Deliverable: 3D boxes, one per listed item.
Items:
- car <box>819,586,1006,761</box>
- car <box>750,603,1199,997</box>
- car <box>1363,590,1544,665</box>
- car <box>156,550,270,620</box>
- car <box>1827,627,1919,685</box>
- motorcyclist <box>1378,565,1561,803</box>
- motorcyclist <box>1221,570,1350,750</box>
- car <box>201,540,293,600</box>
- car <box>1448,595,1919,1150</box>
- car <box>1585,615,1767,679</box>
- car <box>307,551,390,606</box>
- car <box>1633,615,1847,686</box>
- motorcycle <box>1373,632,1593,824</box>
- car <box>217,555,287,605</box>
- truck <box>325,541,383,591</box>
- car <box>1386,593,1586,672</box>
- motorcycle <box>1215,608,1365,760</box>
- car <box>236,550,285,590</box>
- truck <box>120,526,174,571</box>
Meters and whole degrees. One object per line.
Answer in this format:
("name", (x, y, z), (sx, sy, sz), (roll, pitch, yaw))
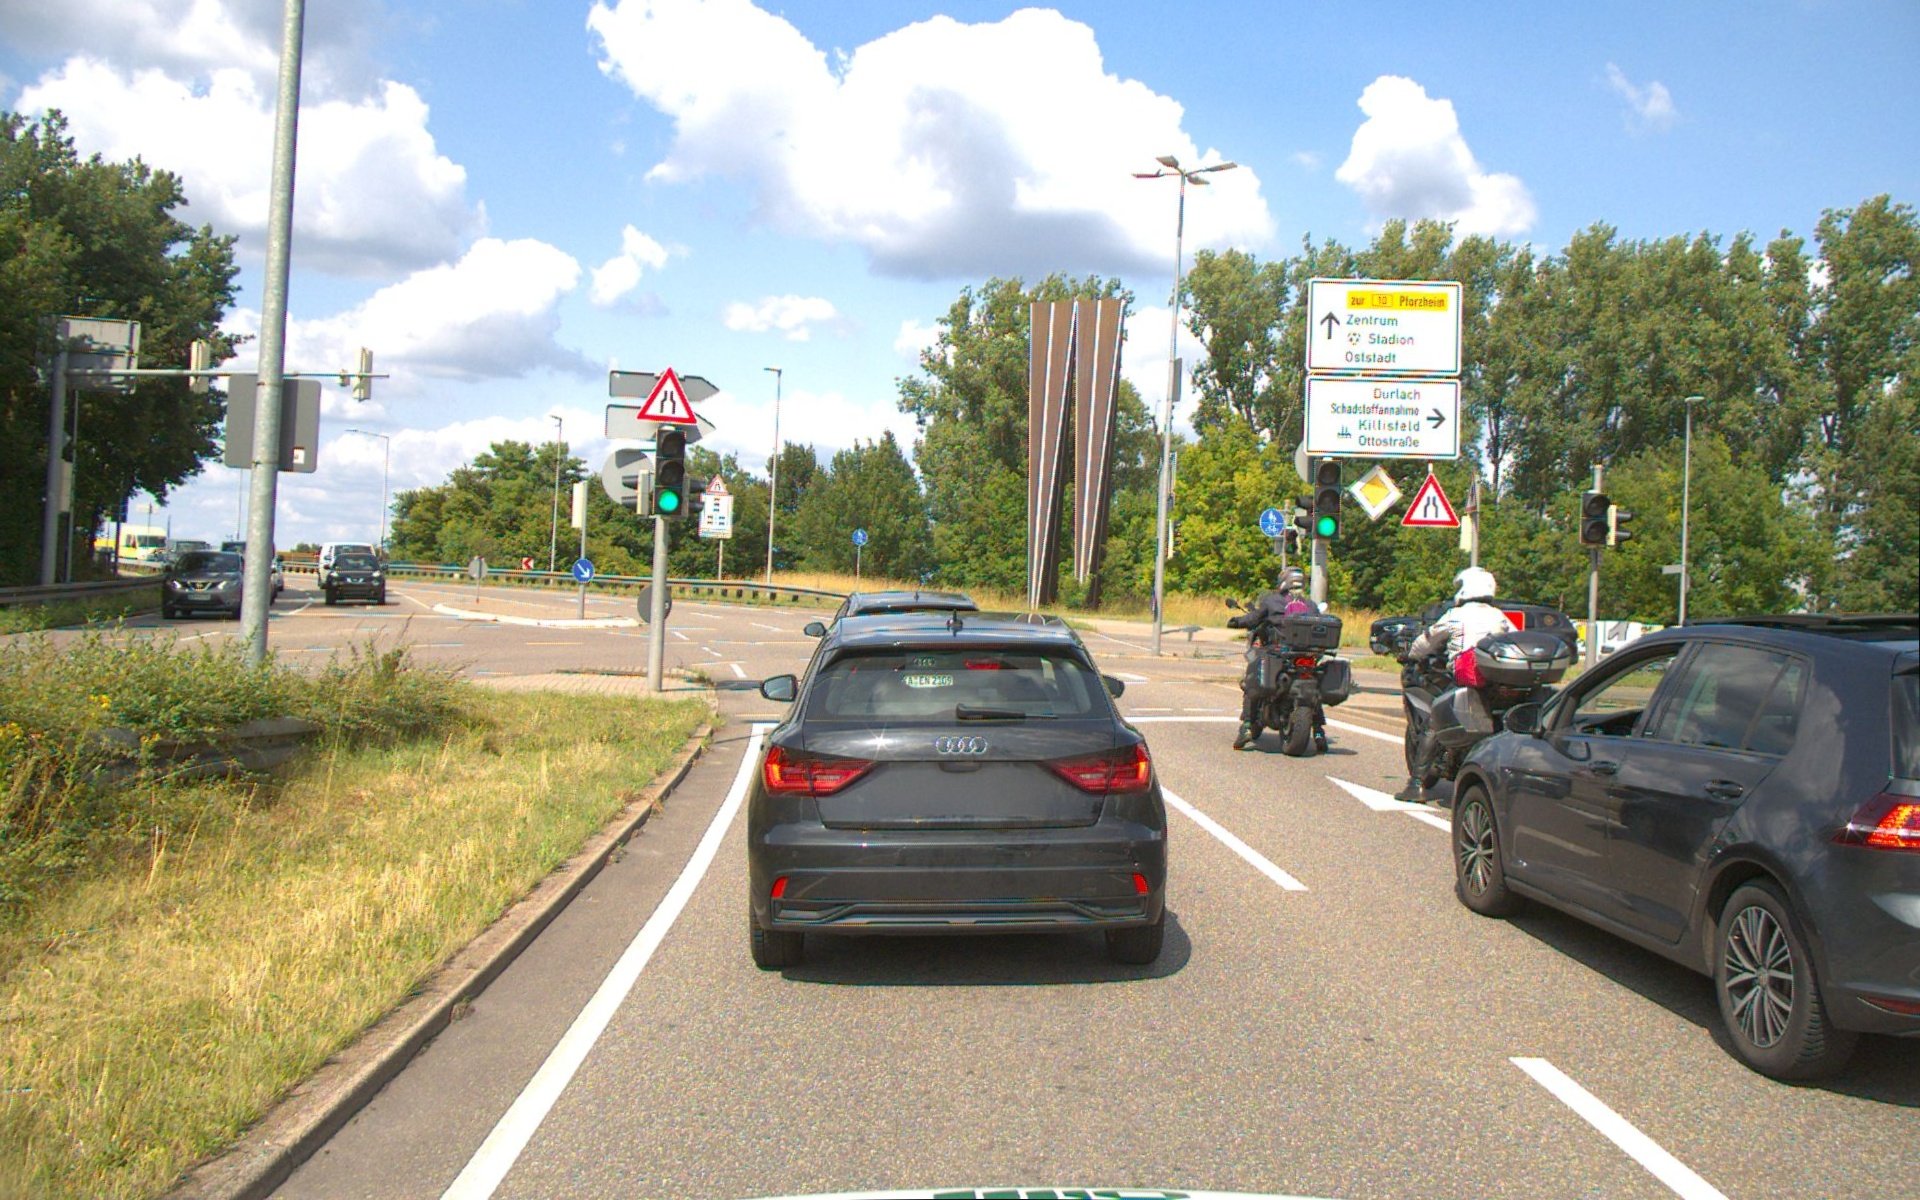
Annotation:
("car", (-0.493, 0.630, 16.413), (1.609, 1.504, 3.870), (1, 0, -2))
("car", (0.028, 0.744, 7.962), (1.647, 1.412, 3.738), (0, 0, -1))
("car", (12.894, 0.699, 43.356), (4.119, 1.674, 1.837), (3, 1, -3))
("car", (-18.248, -0.379, 40.570), (1.680, 1.613, 4.269), (0, 1, -12))
("car", (25.998, 1.564, 44.792), (4.119, 1.399, 1.700), (3, 1, -3))
("motorcyclist", (3.729, 0.587, 12.206), (0.946, 1.648, 1.124), (2, 0, -1))
("motorcyclist", (3.081, 0.547, 15.772), (0.946, 1.624, 1.124), (2, 0, -1))
("car", (-25.399, -1.058, 58.818), (1.978, 2.049, 5.069), (-1, 1, -36))
("car", (3.379, 0.763, 6.521), (1.609, 1.504, 3.870), (1, 0, -2))
("car", (19.091, 1.234, 44.177), (4.119, 1.399, 1.645), (3, 1, -3))
("car", (-19.066, -0.684, 51.510), (1.681, 1.584, 3.781), (1, 1, -32))
("car", (19.003, 1.215, 40.374), (4.438, 1.399, 1.645), (3, 1, -3))
("motorcycle", (3.703, 0.855, 11.967), (0.773, 1.151, 2.399), (2, 1, -1))
("car", (-21.562, -0.616, 50.455), (1.556, 1.457, 3.980), (0, 1, -18))
("truck", (-25.247, -1.437, 68.799), (1.935, 1.946, 5.331), (1, 1, -24))
("car", (12.694, 0.781, 40.074), (4.196, 1.645, 1.844), (3, -1, -3))
("motorcycle", (3.075, 0.741, 15.683), (0.869, 1.269, 2.399), (2, 1, -1))
("car", (-28.036, -1.193, 66.251), (1.710, 1.547, 4.037), (0, 1, -24))
("truck", (-49.691, -3.185, 101.172), (1.962, 2.666, 6.077), (0, 2, -17))
